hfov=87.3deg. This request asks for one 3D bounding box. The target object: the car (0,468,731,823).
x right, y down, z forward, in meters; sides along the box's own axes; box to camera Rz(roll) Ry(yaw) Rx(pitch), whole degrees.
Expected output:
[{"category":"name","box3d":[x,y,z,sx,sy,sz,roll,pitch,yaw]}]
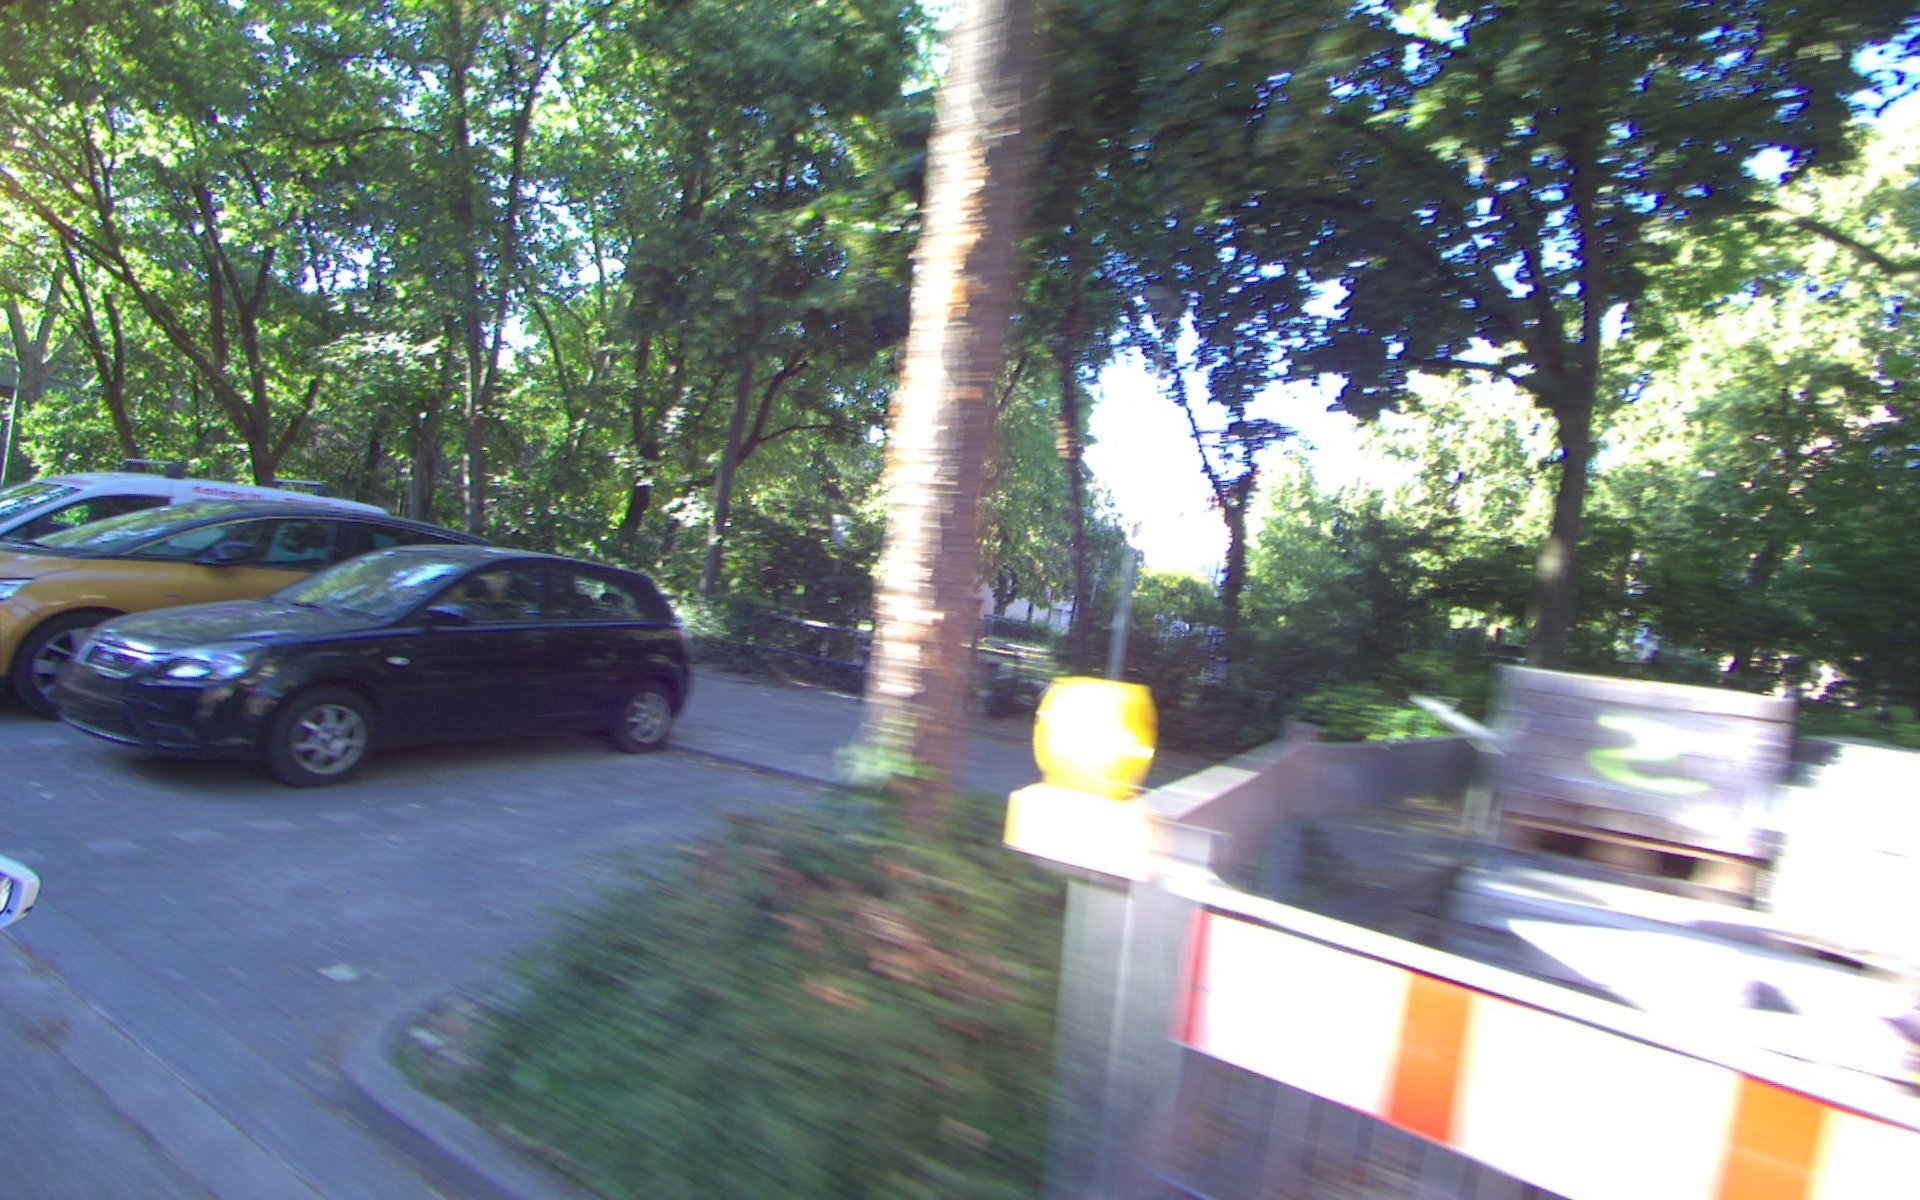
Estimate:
[{"category":"car","box3d":[-3.688,0.344,7.075,1.767,1.646,3.999,7,-2,26]}]

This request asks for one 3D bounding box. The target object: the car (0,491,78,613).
[{"category":"car","box3d":[-14.282,-0.869,12.951,1.560,1.592,3.997,7,-2,28]}]

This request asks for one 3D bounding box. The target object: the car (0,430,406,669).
[{"category":"car","box3d":[-8.127,-0.461,9.541,1.840,1.950,4.676,7,2,29]}]

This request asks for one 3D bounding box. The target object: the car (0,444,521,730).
[{"category":"car","box3d":[-5.914,-0.009,7.977,1.770,1.778,3.992,7,-2,34]}]

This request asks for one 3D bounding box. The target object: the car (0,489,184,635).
[{"category":"car","box3d":[-12.116,-0.609,12.086,1.638,1.592,3.994,7,-2,32]}]

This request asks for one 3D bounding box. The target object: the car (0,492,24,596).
[{"category":"car","box3d":[-16.477,-1.129,14.488,1.560,1.592,3.997,7,-2,28]}]
